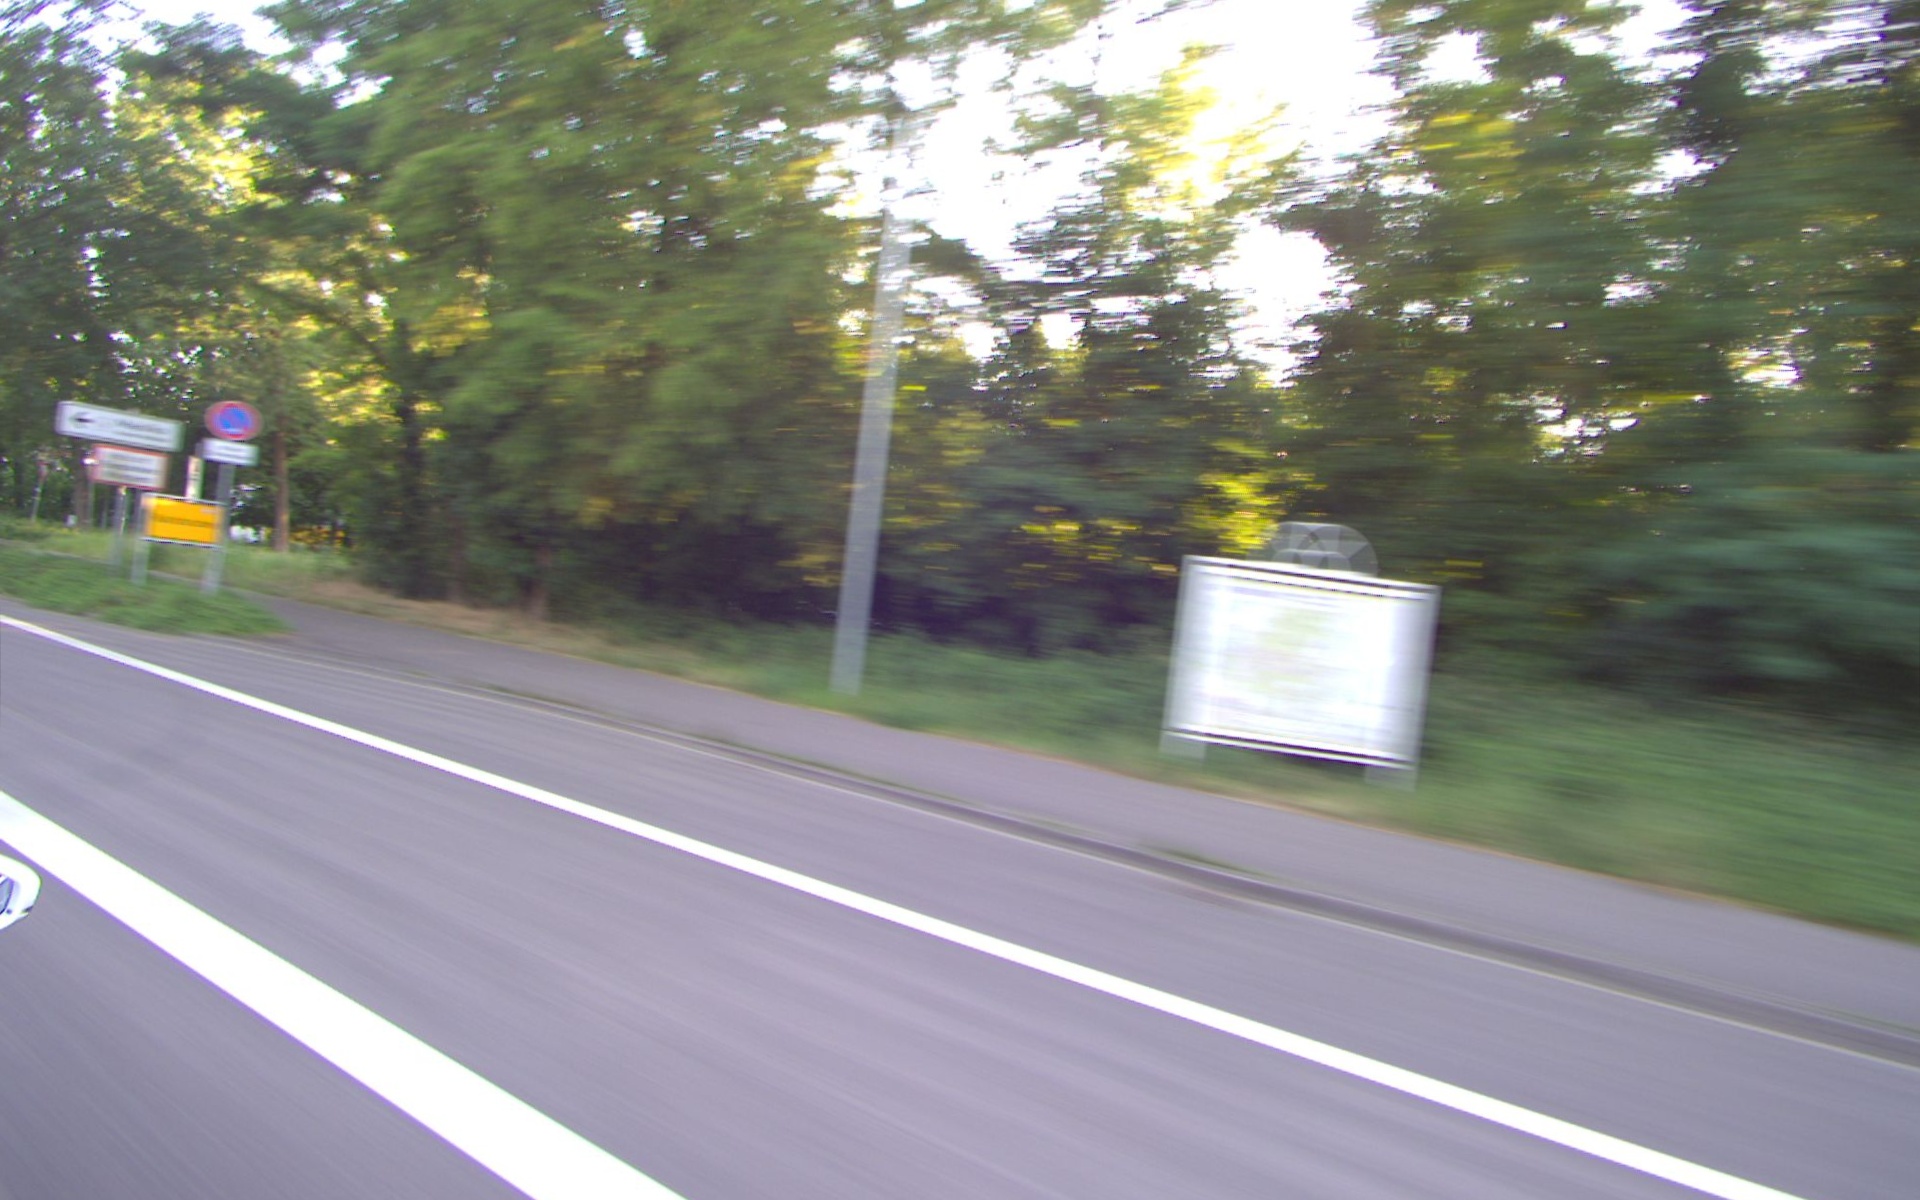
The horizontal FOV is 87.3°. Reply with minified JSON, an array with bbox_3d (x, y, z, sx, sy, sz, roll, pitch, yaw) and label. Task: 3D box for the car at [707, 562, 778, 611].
[{"bbox_3d":[-8.089,-0.537,37.240,1.524,1.499,3.618,8,-1,-28],"label":"car"}]
